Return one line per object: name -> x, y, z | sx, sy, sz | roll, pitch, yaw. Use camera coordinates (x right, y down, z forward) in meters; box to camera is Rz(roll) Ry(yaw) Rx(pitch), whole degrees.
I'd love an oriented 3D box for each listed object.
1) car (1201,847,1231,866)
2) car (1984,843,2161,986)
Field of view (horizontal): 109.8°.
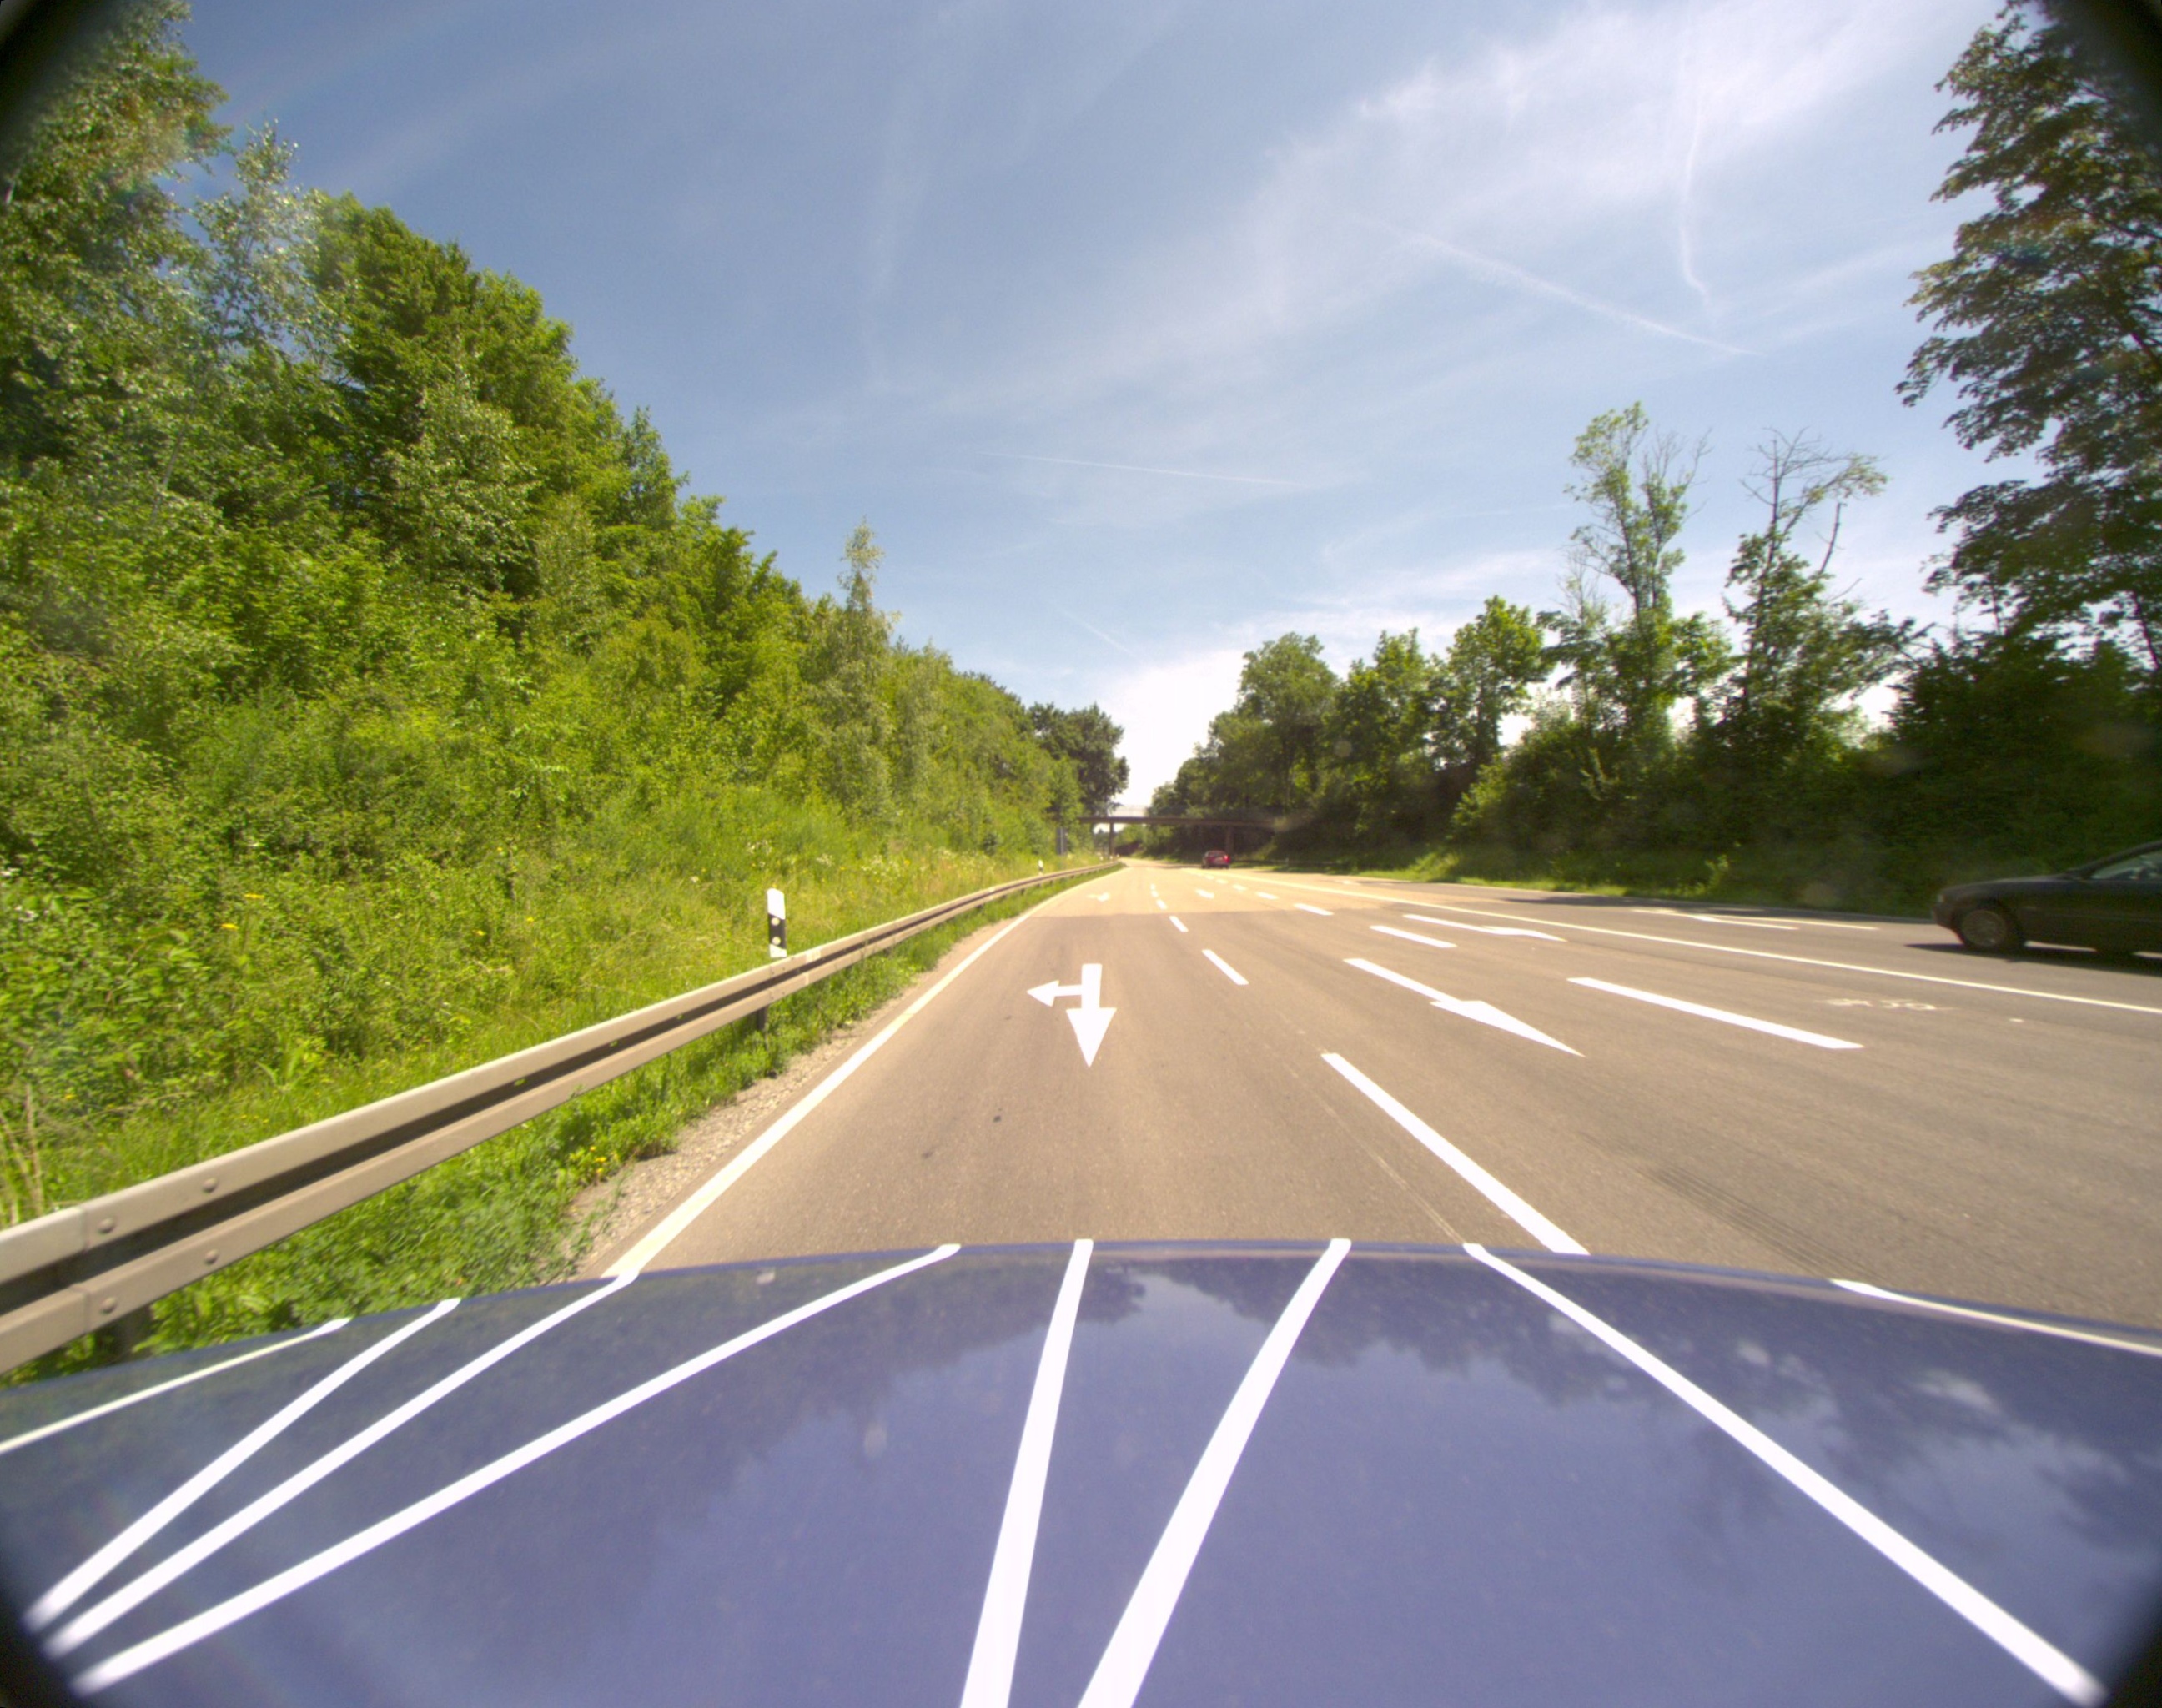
car -> 11.340, 0.223, 63.979 | 1.908, 1.500, 3.764 | -1, 0, 1
car -> 11.809, 0.624, 7.191 | 1.771, 1.378, 3.999 | -2, 1, 0
